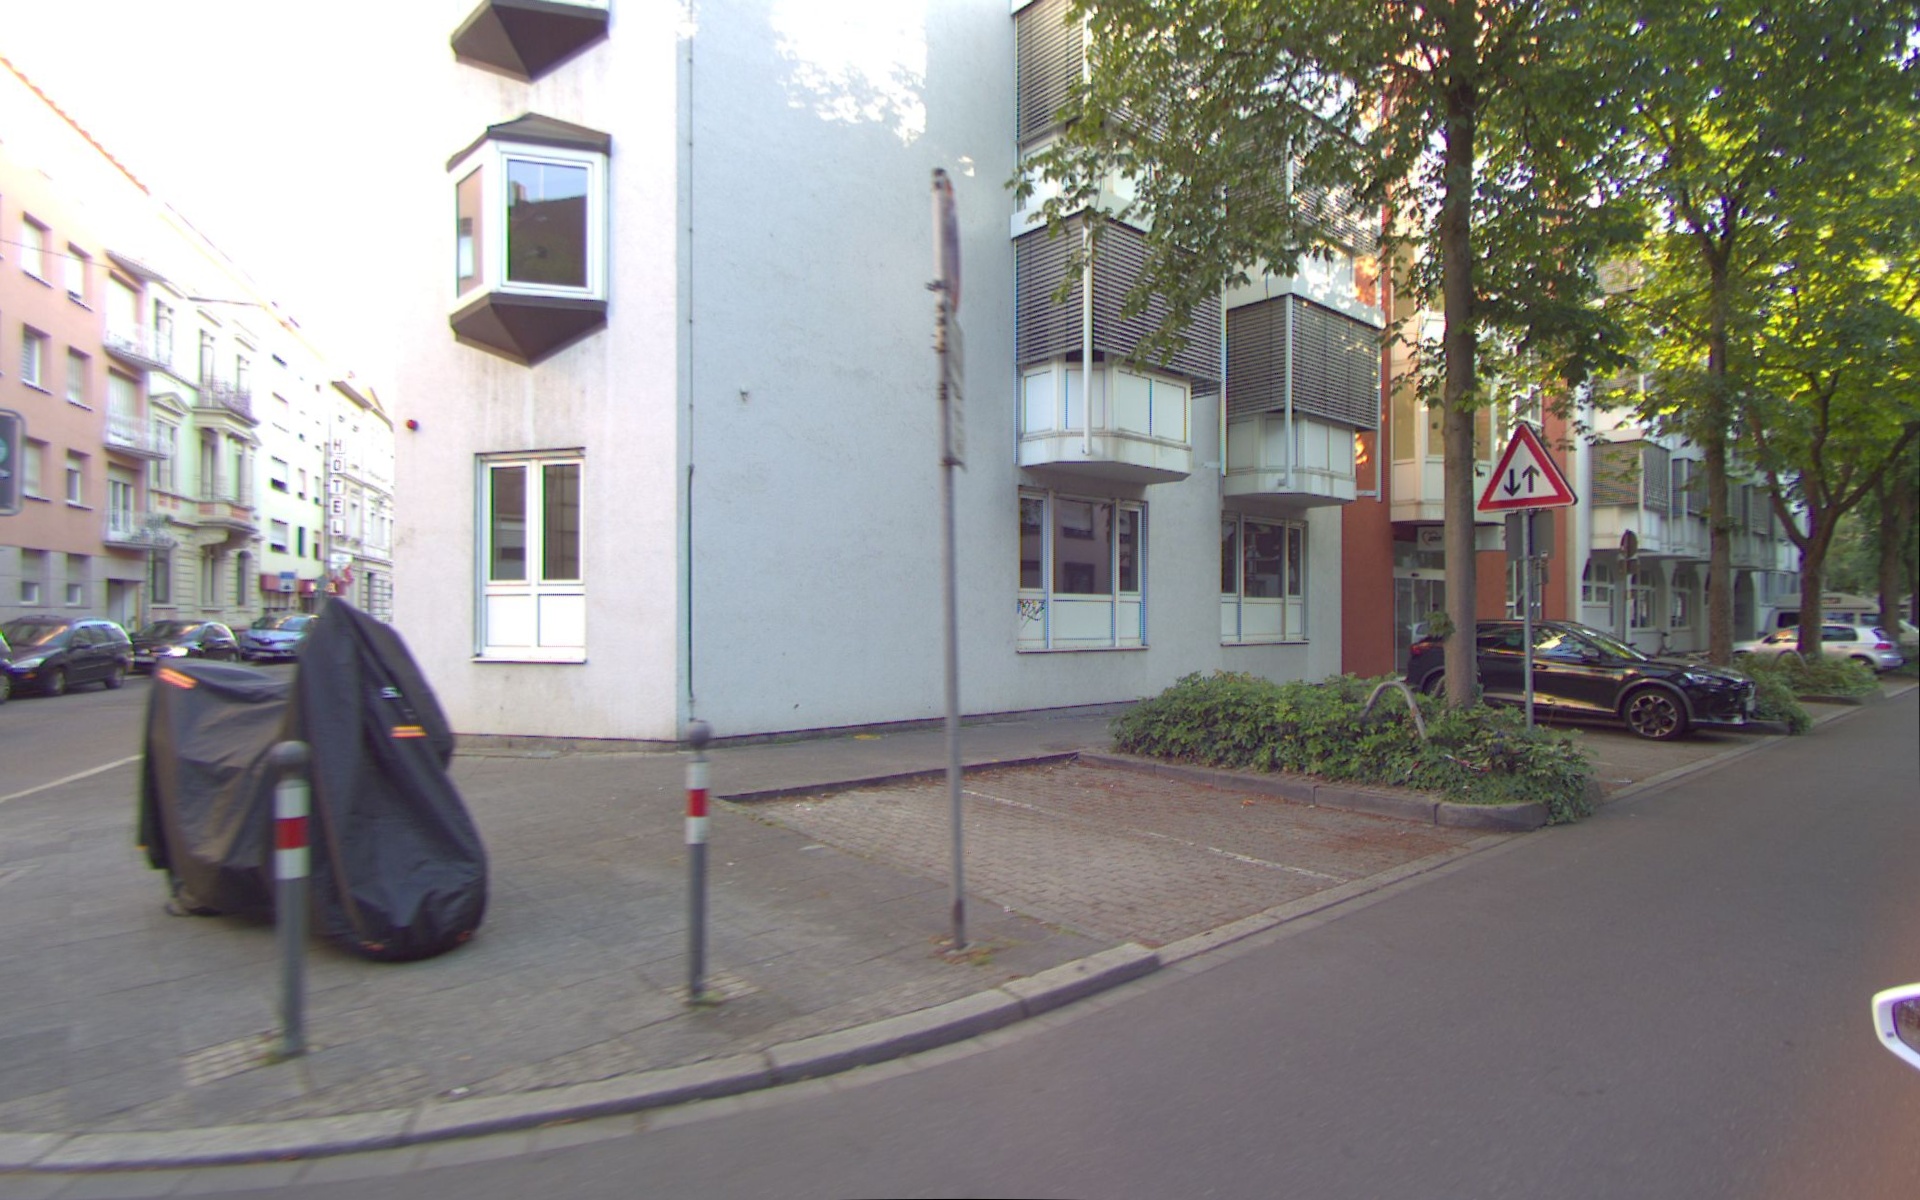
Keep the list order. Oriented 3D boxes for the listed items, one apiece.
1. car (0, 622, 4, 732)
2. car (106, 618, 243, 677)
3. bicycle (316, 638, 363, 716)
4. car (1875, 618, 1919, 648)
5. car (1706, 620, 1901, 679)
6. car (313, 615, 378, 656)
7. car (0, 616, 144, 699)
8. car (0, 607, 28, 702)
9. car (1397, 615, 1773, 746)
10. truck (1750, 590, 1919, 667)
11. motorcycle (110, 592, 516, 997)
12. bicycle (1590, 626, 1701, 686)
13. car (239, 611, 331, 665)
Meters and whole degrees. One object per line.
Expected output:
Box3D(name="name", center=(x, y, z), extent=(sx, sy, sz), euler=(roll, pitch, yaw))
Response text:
Box3D(name="car", center=(-12.618, 0.980, 10.777), extent=(1.656, 1.422, 4.453), euler=(-1, -1, -19))
Box3D(name="car", center=(-21.267, 1.231, 27.384), extent=(1.669, 1.477, 4.114), euler=(0, -1, -19))
Box3D(name="bicycle", center=(-9.703, 1.177, 15.737), extent=(0.396, 1.117, 1.802), euler=(-1, -1, -25))
Box3D(name="car", center=(50.733, 1.745, 52.614), extent=(1.627, 1.491, 3.986), euler=(1, 0, -41))
Box3D(name="car", center=(24.063, 1.355, 28.763), extent=(1.627, 1.491, 4.095), euler=(1, 0, -41))
Box3D(name="car", center=(-25.527, 1.453, 41.807), extent=(1.551, 1.599, 3.575), euler=(0, -1, -19))
Box3D(name="car", center=(-18.808, 1.116, 20.727), extent=(1.669, 1.534, 4.265), euler=(0, -1, -19))
Box3D(name="car", center=(-17.148, 0.930, 16.091), extent=(1.668, 1.646, 4.039), euler=(0, -1, -18))
Box3D(name="car", center=(8.915, 1.031, 14.625), extent=(1.820, 1.529, 4.318), euler=(1, 0, -41))
Box3D(name="truck", center=(30.317, 0.888, 34.301), extent=(1.900, 2.474, 4.957), euler=(-1, 1, -40))
Box3D(name="motorcycle", center=(-3.082, 0.771, 4.717), extent=(2.123, 1.576, 0.668), euler=(-1, -1, 29))
Box3D(name="bicycle", center=(14.663, 1.170, 21.520), extent=(1.945, 1.215, 0.500), euler=(0, -1, 38))
Box3D(name="car", center=(-23.601, 1.291, 35.263), extent=(1.669, 1.764, 4.092), euler=(0, -1, -19))
